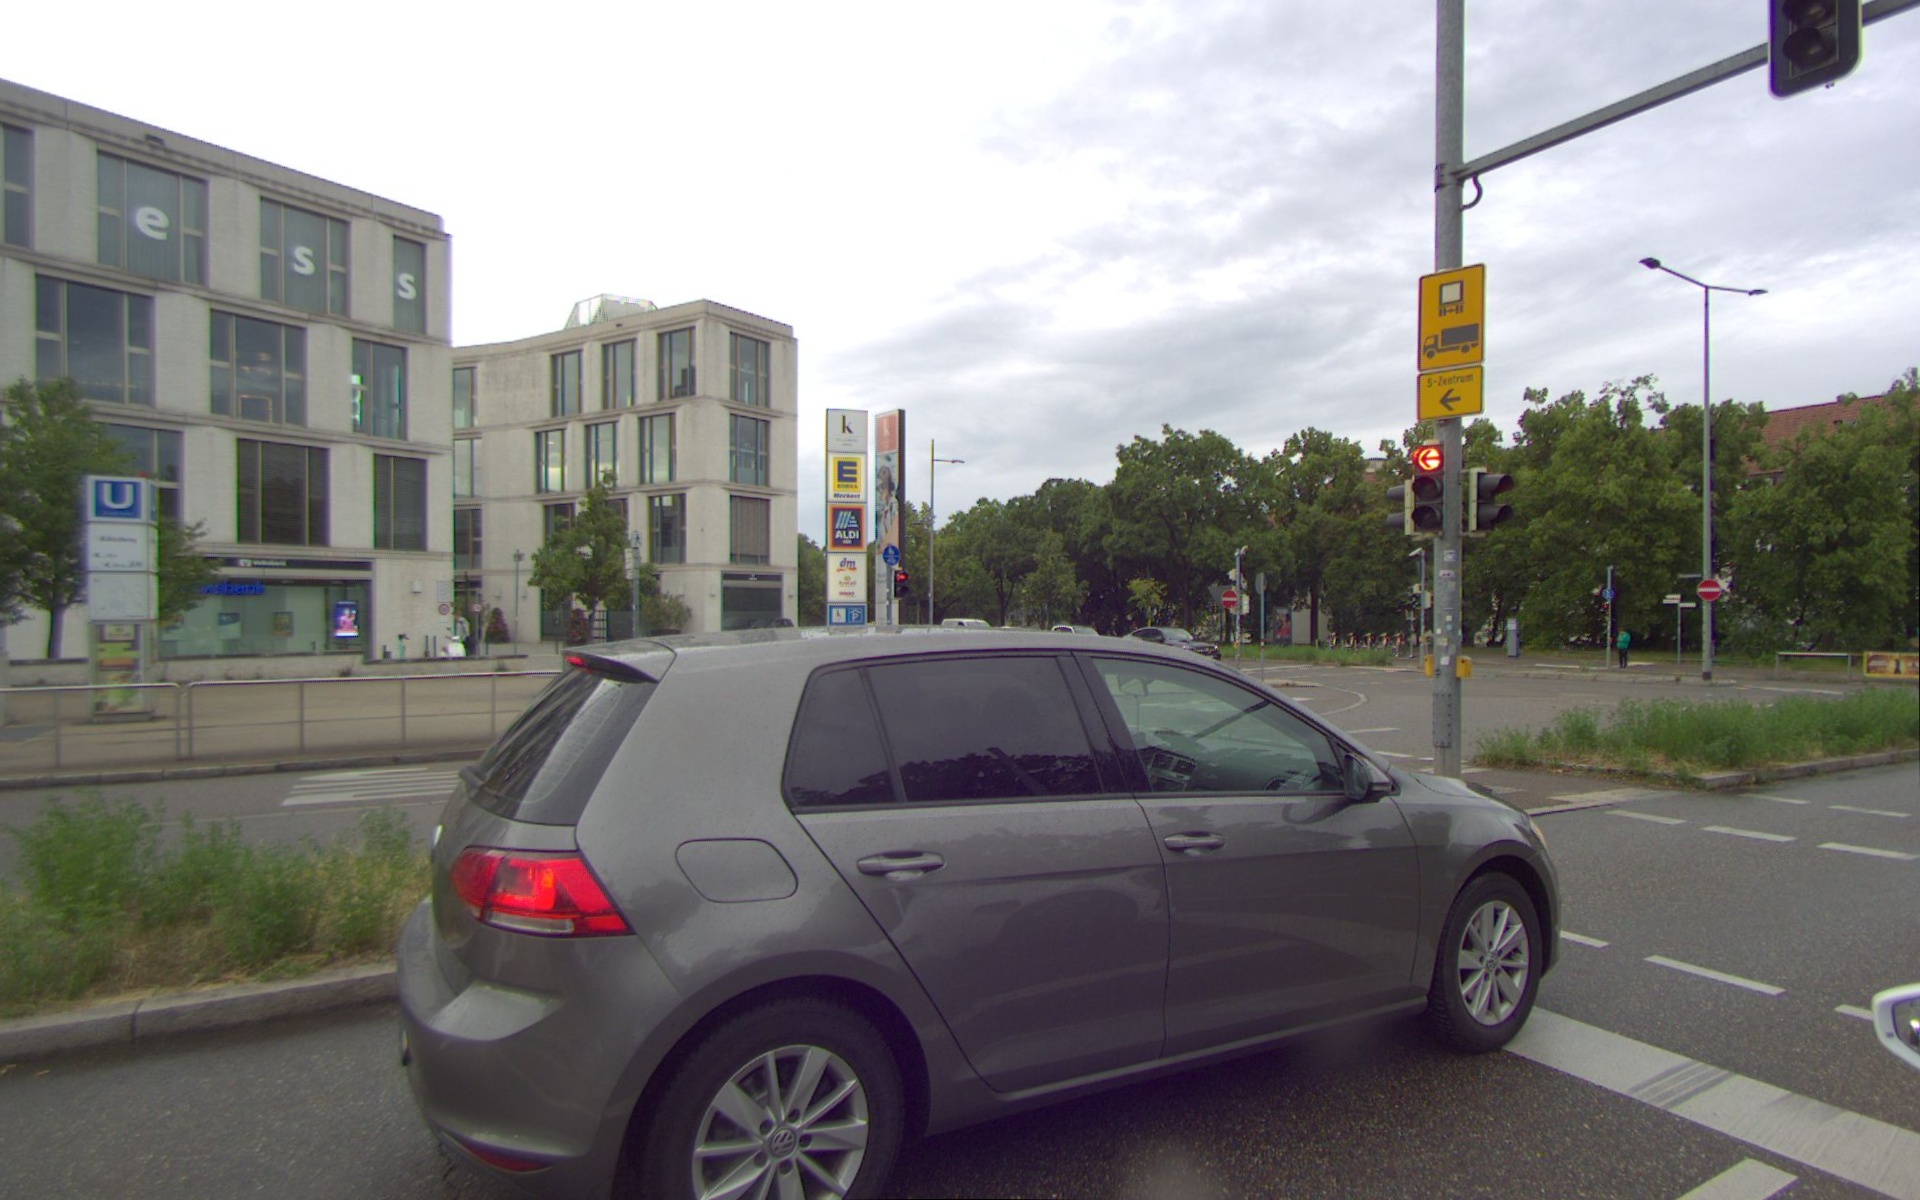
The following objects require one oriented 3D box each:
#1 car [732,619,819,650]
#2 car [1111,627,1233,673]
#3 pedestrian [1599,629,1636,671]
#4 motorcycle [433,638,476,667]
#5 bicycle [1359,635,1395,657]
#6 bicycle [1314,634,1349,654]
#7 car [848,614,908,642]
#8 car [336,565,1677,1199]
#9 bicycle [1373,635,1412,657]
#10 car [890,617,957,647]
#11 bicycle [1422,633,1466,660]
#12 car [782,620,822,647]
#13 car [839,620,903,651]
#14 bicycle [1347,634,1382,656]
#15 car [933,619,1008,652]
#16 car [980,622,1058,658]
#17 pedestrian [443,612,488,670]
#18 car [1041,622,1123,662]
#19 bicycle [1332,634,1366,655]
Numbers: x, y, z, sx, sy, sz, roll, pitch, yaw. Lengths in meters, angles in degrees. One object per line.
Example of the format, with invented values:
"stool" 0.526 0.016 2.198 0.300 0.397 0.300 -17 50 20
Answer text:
"car" -9.193 1.711 50.315 1.968 1.483 3.985 0 -2 37
"car" 8.388 1.962 40.238 1.976 1.520 5.001 2 0 -29
"pedestrian" 27.922 2.120 42.657 0.933 1.750 0.919 2 0 -26
"motorcycle" -14.015 1.443 27.842 1.081 0.750 0.522 2 0 29
"bicycle" 21.666 2.391 52.171 1.959 1.085 0.649 2 0 -30
"bicycle" 20.261 2.398 54.762 1.959 1.085 0.649 2 0 -30
"car" -5.465 1.809 66.110 1.977 1.615 4.852 2 0 -31
"car" 0.410 0.754 3.550 4.323 1.501 1.808 2 -1 -29
"bicycle" 22.237 2.357 51.647 1.959 1.085 0.798 2 0 -30
"car" -2.263 1.880 60.391 1.976 1.615 4.855 2 0 -29
"bicycle" 23.753 2.281 49.259 1.959 1.266 0.986 2 0 -30
"car" -12.706 2.655 80.595 1.976 2.040 3.969 1 -1 -29
"car" -5.335 2.105 59.696 1.976 1.615 4.855 2 0 -29
"bicycle" 21.365 2.374 53.031 1.959 1.085 0.649 2 0 -30
"car" 0.526 1.939 55.403 1.976 1.615 4.855 2 0 -29
"car" 2.923 1.990 50.931 1.976 1.615 4.185 2 0 -29
"pedestrian" -14.382 1.186 29.215 0.752 1.626 0.911 0 -1 37
"car" 5.550 1.904 46.024 1.976 1.615 3.536 2 0 -30
"bicycle" 20.932 2.384 54.032 1.959 1.085 0.649 2 0 -30
